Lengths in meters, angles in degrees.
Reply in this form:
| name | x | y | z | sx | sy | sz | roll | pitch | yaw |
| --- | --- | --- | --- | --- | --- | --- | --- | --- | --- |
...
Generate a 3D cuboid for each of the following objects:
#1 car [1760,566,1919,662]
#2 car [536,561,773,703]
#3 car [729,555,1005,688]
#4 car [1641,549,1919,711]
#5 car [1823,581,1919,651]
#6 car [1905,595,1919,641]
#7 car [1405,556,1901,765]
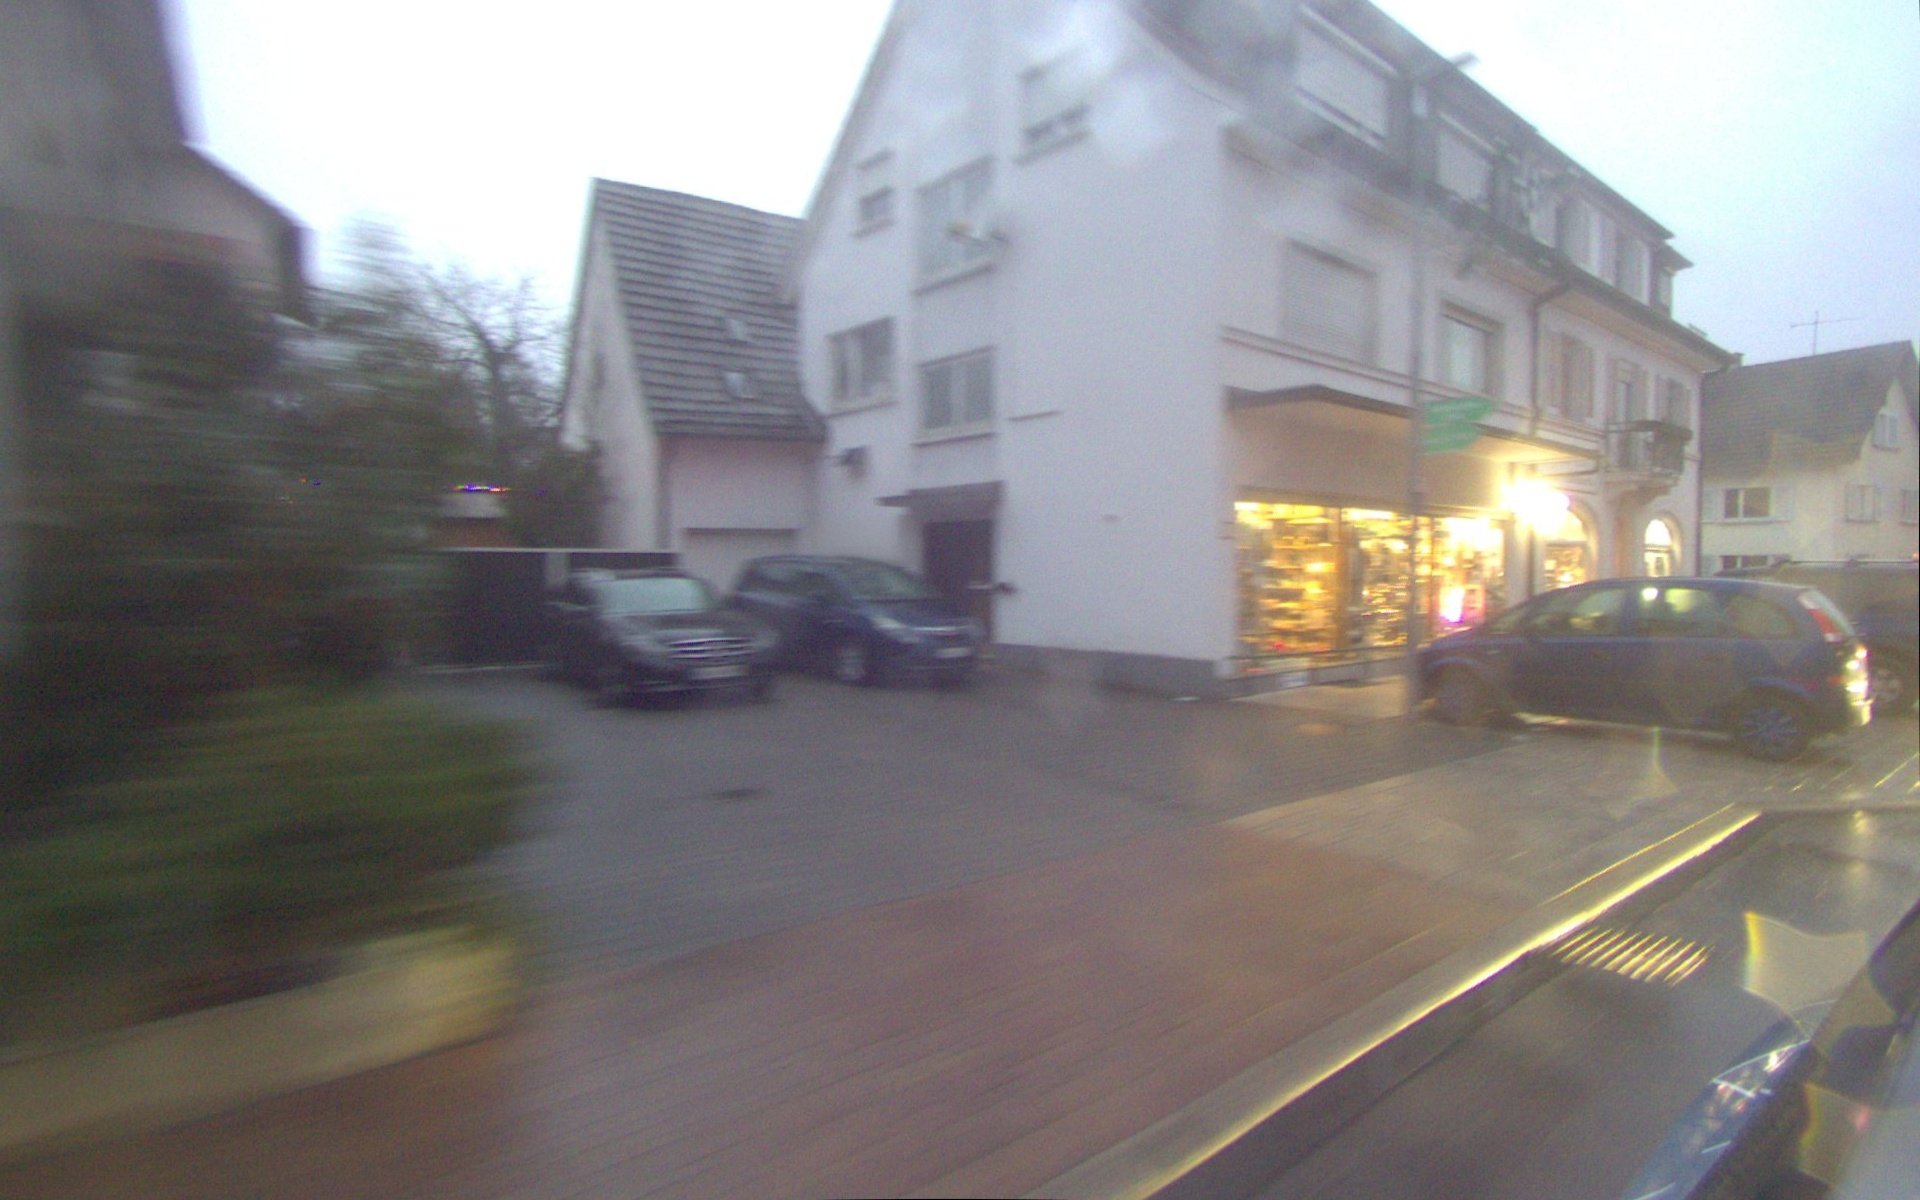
| name | x | y | z | sx | sy | sz | roll | pitch | yaw |
| --- | --- | --- | --- | --- | --- | --- | --- | --- | --- |
| car | 18.092 | 0.247 | 19.503 | 1.683 | 1.754 | 3.888 | 0 | 2 | -39 |
| car | -3.965 | 0.263 | 12.706 | 1.833 | 1.486 | 3.808 | 0 | 2 | -34 |
| car | -1.394 | 0.193 | 13.871 | 1.715 | 1.549 | 3.993 | 1 | 1 | -42 |
| car | 11.351 | 0.318 | 13.117 | 1.838 | 1.900 | 3.881 | 0 | 2 | -44 |
| car | 20.426 | 0.351 | 20.775 | 1.523 | 1.384 | 3.888 | 0 | 2 | -39 |
| car | 25.432 | 0.509 | 24.252 | 1.523 | 1.141 | 3.888 | 0 | 2 | -39 |
| car | 6.774 | 0.427 | 10.201 | 1.585 | 1.647 | 3.846 | 0 | 3 | -43 |
